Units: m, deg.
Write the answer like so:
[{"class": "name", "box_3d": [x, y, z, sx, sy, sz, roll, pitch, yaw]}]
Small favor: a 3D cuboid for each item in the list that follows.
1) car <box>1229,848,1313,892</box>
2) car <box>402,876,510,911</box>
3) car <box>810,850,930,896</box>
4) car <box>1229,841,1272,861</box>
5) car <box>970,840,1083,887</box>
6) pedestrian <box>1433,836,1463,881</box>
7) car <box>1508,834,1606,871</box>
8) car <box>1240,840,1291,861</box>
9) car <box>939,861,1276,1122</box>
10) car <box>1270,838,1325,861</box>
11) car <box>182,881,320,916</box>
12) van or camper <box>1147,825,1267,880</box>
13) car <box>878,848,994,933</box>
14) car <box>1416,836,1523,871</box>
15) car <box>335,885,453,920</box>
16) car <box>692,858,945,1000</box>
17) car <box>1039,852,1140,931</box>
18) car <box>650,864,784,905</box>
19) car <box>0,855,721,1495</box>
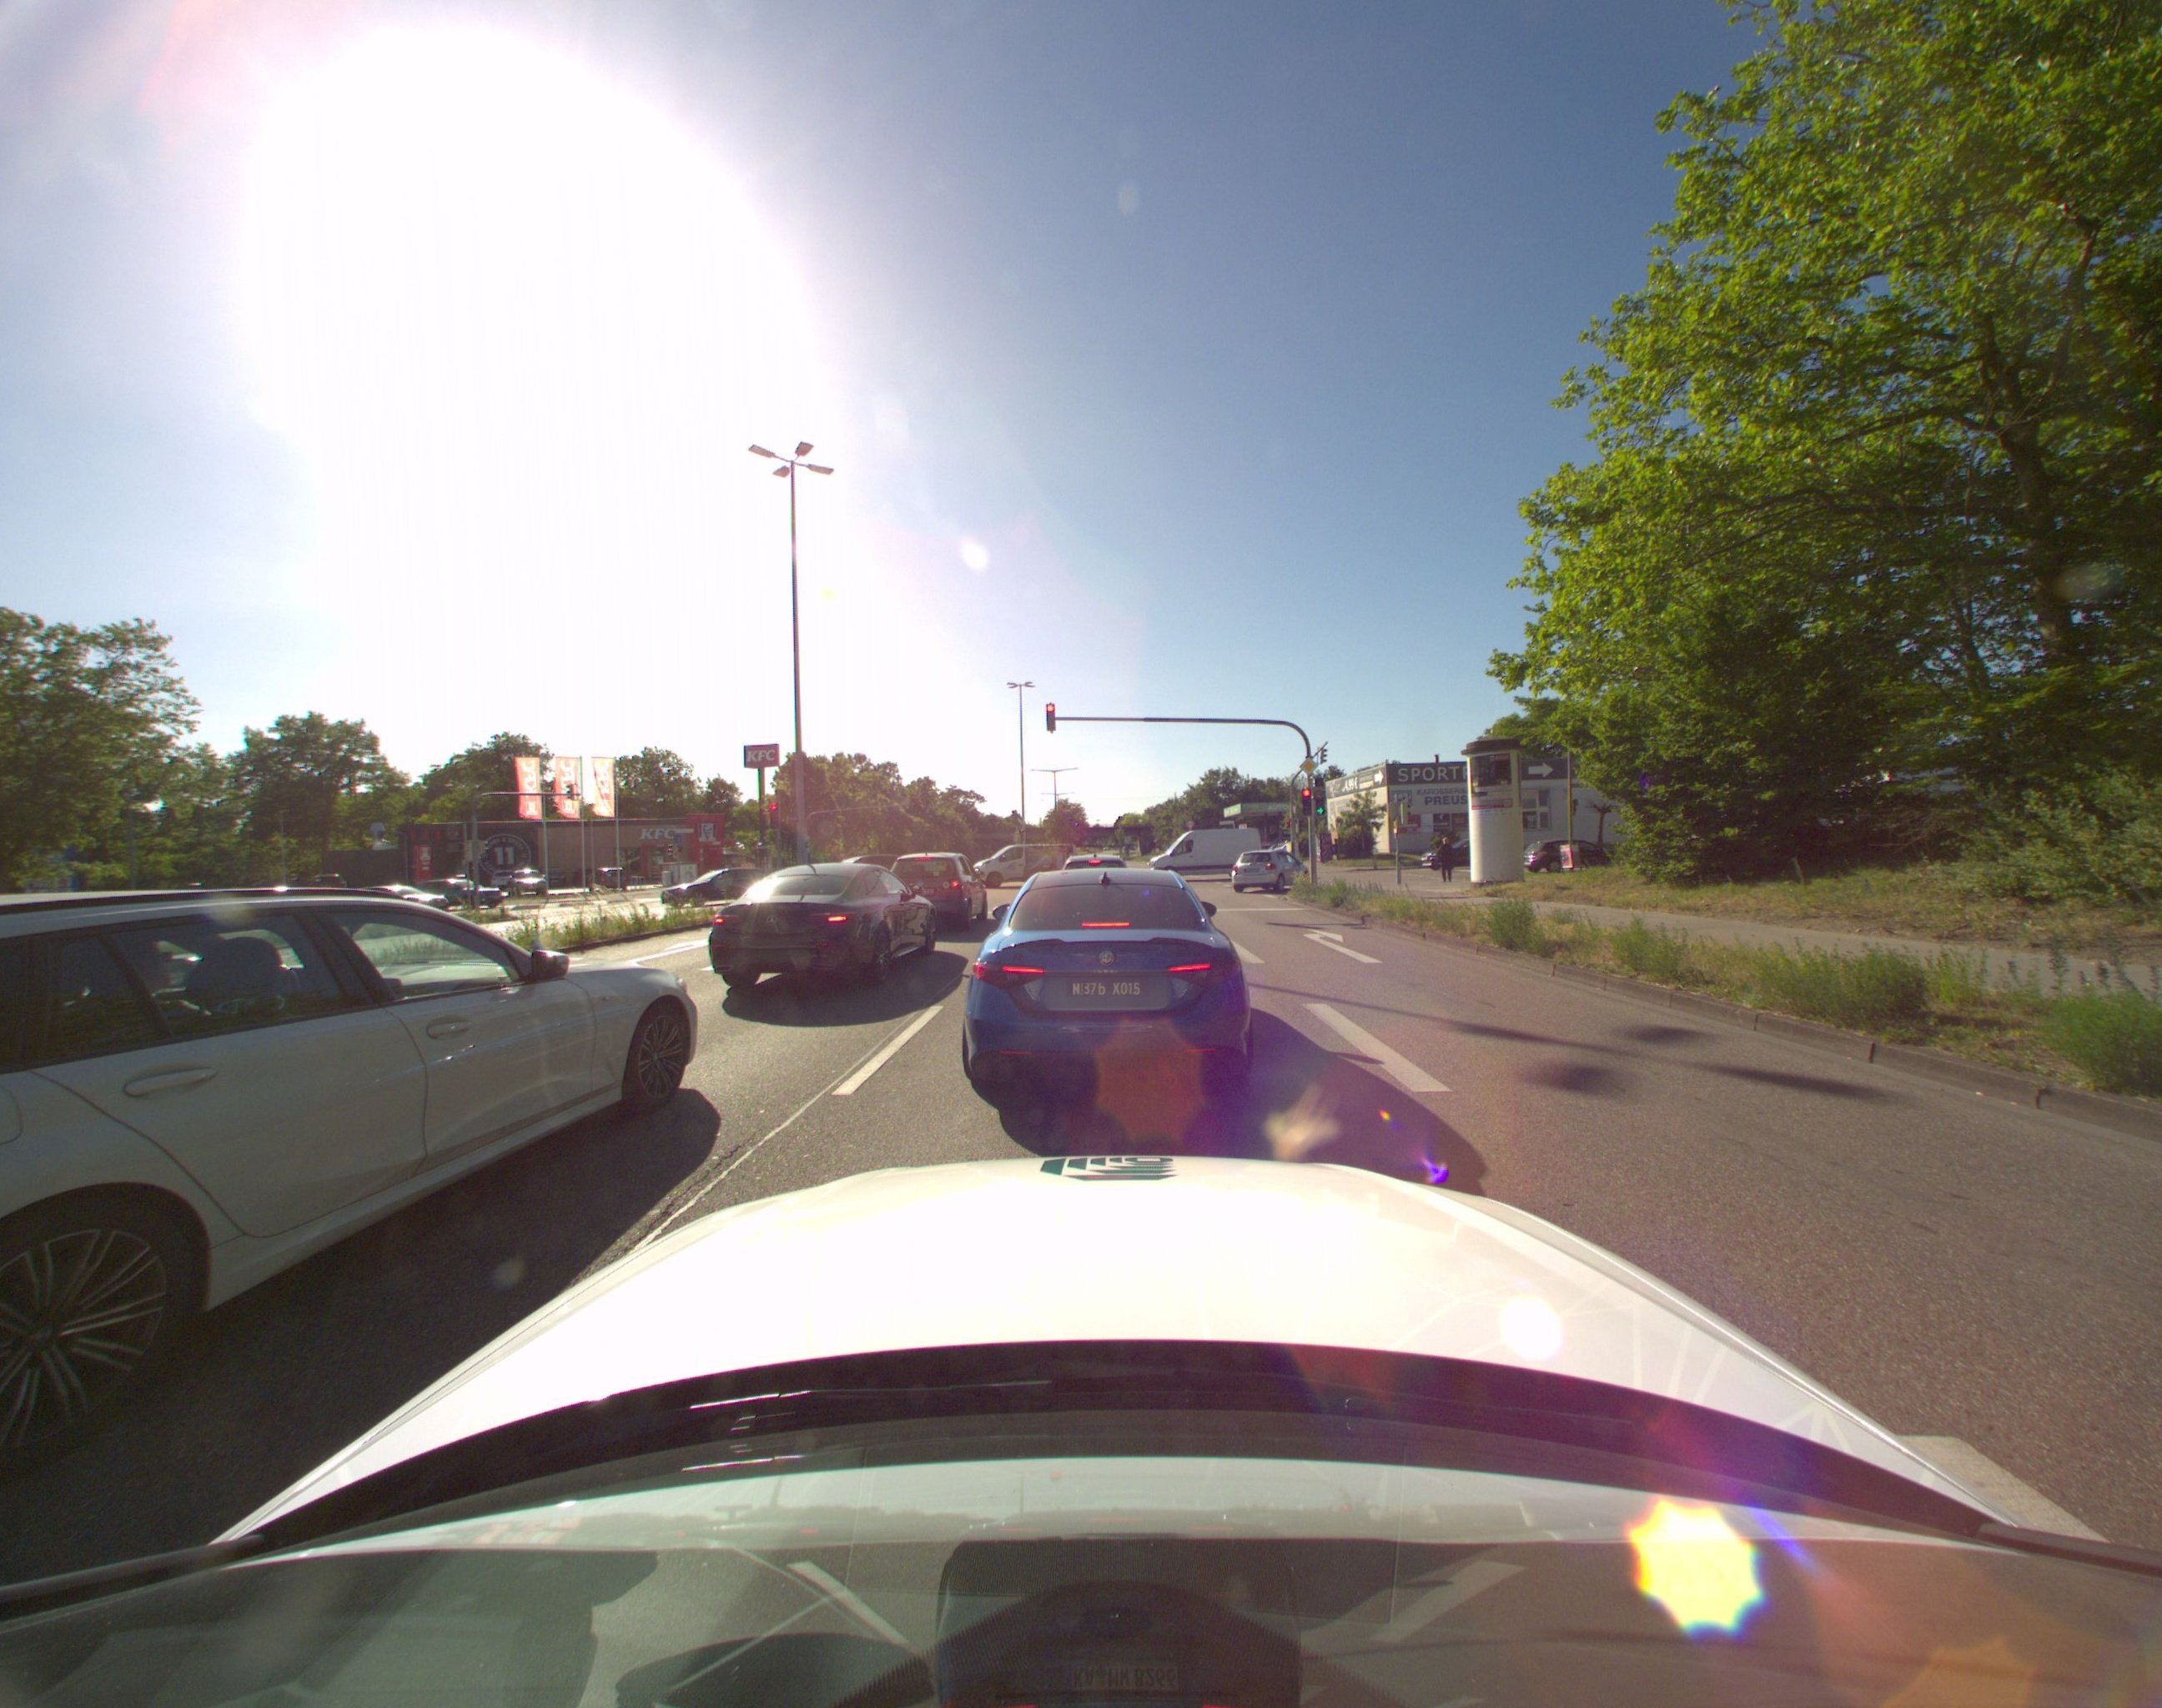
[{"class": "car", "box_3d": [7.073, 0.557, 30.019, 1.718, 1.477, 4.016, -1, 0, 34]}, {"class": "car", "box_3d": [-31.924, 1.989, 41.690, 4.025, 1.595, 1.824, -2, 0, -1]}, {"class": "car", "box_3d": [-8.547, 0.746, 33.308, 1.861, 1.690, 4.464, -2, 0, 40]}, {"class": "car", "box_3d": [15.382, -0.267, 73.964, 3.489, 1.706, 1.687, -2, 0, -14]}, {"class": "car", "box_3d": [-2.580, 0.429, 38.347, 5.017, 2.013, 1.991, -2, 0, -14]}, {"class": "pedestrian", "box_3d": [14.204, 0.174, 31.557, 0.818, 1.721, 0.856, -2, 0, 9]}, {"class": "car", "box_3d": [20.961, -0.066, 35.830, 3.997, 1.477, 1.727, -2, 0, -25]}, {"class": "car", "box_3d": [16.039, -0.304, 70.755, 3.997, 1.706, 1.685, -1, 0, -18]}, {"class": "car", "box_3d": [0.210, 0.784, 6.513, 1.859, 1.385, 3.933, -1, 0, 2]}, {"class": "car", "box_3d": [17.509, -0.373, 65.861, 3.993, 1.706, 1.687, -2, 0, -15]}, {"class": "car", "box_3d": [-39.251, 2.087, 38.577, 4.701, 1.429, 1.865, -1, 1, 2]}, {"class": "van or camper", "box_3d": [6.548, -0.093, 42.651, 5.919, 2.651, 1.999, -1, 0, -1]}, {"class": "car", "box_3d": [-2.994, 0.695, 17.593, 1.642, 1.598, 3.933, -2, 0, 2]}, {"class": "car", "box_3d": [20.120, -0.013, 42.338, 4.583, 1.653, 2.000, -1, 0, 0]}, {"class": "car", "box_3d": [-32.129, 2.239, 38.168, 4.019, 1.429, 1.826, -2, 0, 3]}, {"class": "car", "box_3d": [-3.147, 0.810, 10.830, 1.762, 1.414, 4.463, -2, 0, 2]}, {"class": "car", "box_3d": [0.228, 0.697, 17.193, 1.859, 1.450, 3.933, -1, 0, 2]}, {"class": "car", "box_3d": [-14.835, 1.202, 33.438, 1.885, 1.446, 4.637, -1, 0, 40]}, {"class": "car", "box_3d": [-3.435, 0.795, 3.357, 1.762, 1.509, 4.463, -2, 0, 2]}]
